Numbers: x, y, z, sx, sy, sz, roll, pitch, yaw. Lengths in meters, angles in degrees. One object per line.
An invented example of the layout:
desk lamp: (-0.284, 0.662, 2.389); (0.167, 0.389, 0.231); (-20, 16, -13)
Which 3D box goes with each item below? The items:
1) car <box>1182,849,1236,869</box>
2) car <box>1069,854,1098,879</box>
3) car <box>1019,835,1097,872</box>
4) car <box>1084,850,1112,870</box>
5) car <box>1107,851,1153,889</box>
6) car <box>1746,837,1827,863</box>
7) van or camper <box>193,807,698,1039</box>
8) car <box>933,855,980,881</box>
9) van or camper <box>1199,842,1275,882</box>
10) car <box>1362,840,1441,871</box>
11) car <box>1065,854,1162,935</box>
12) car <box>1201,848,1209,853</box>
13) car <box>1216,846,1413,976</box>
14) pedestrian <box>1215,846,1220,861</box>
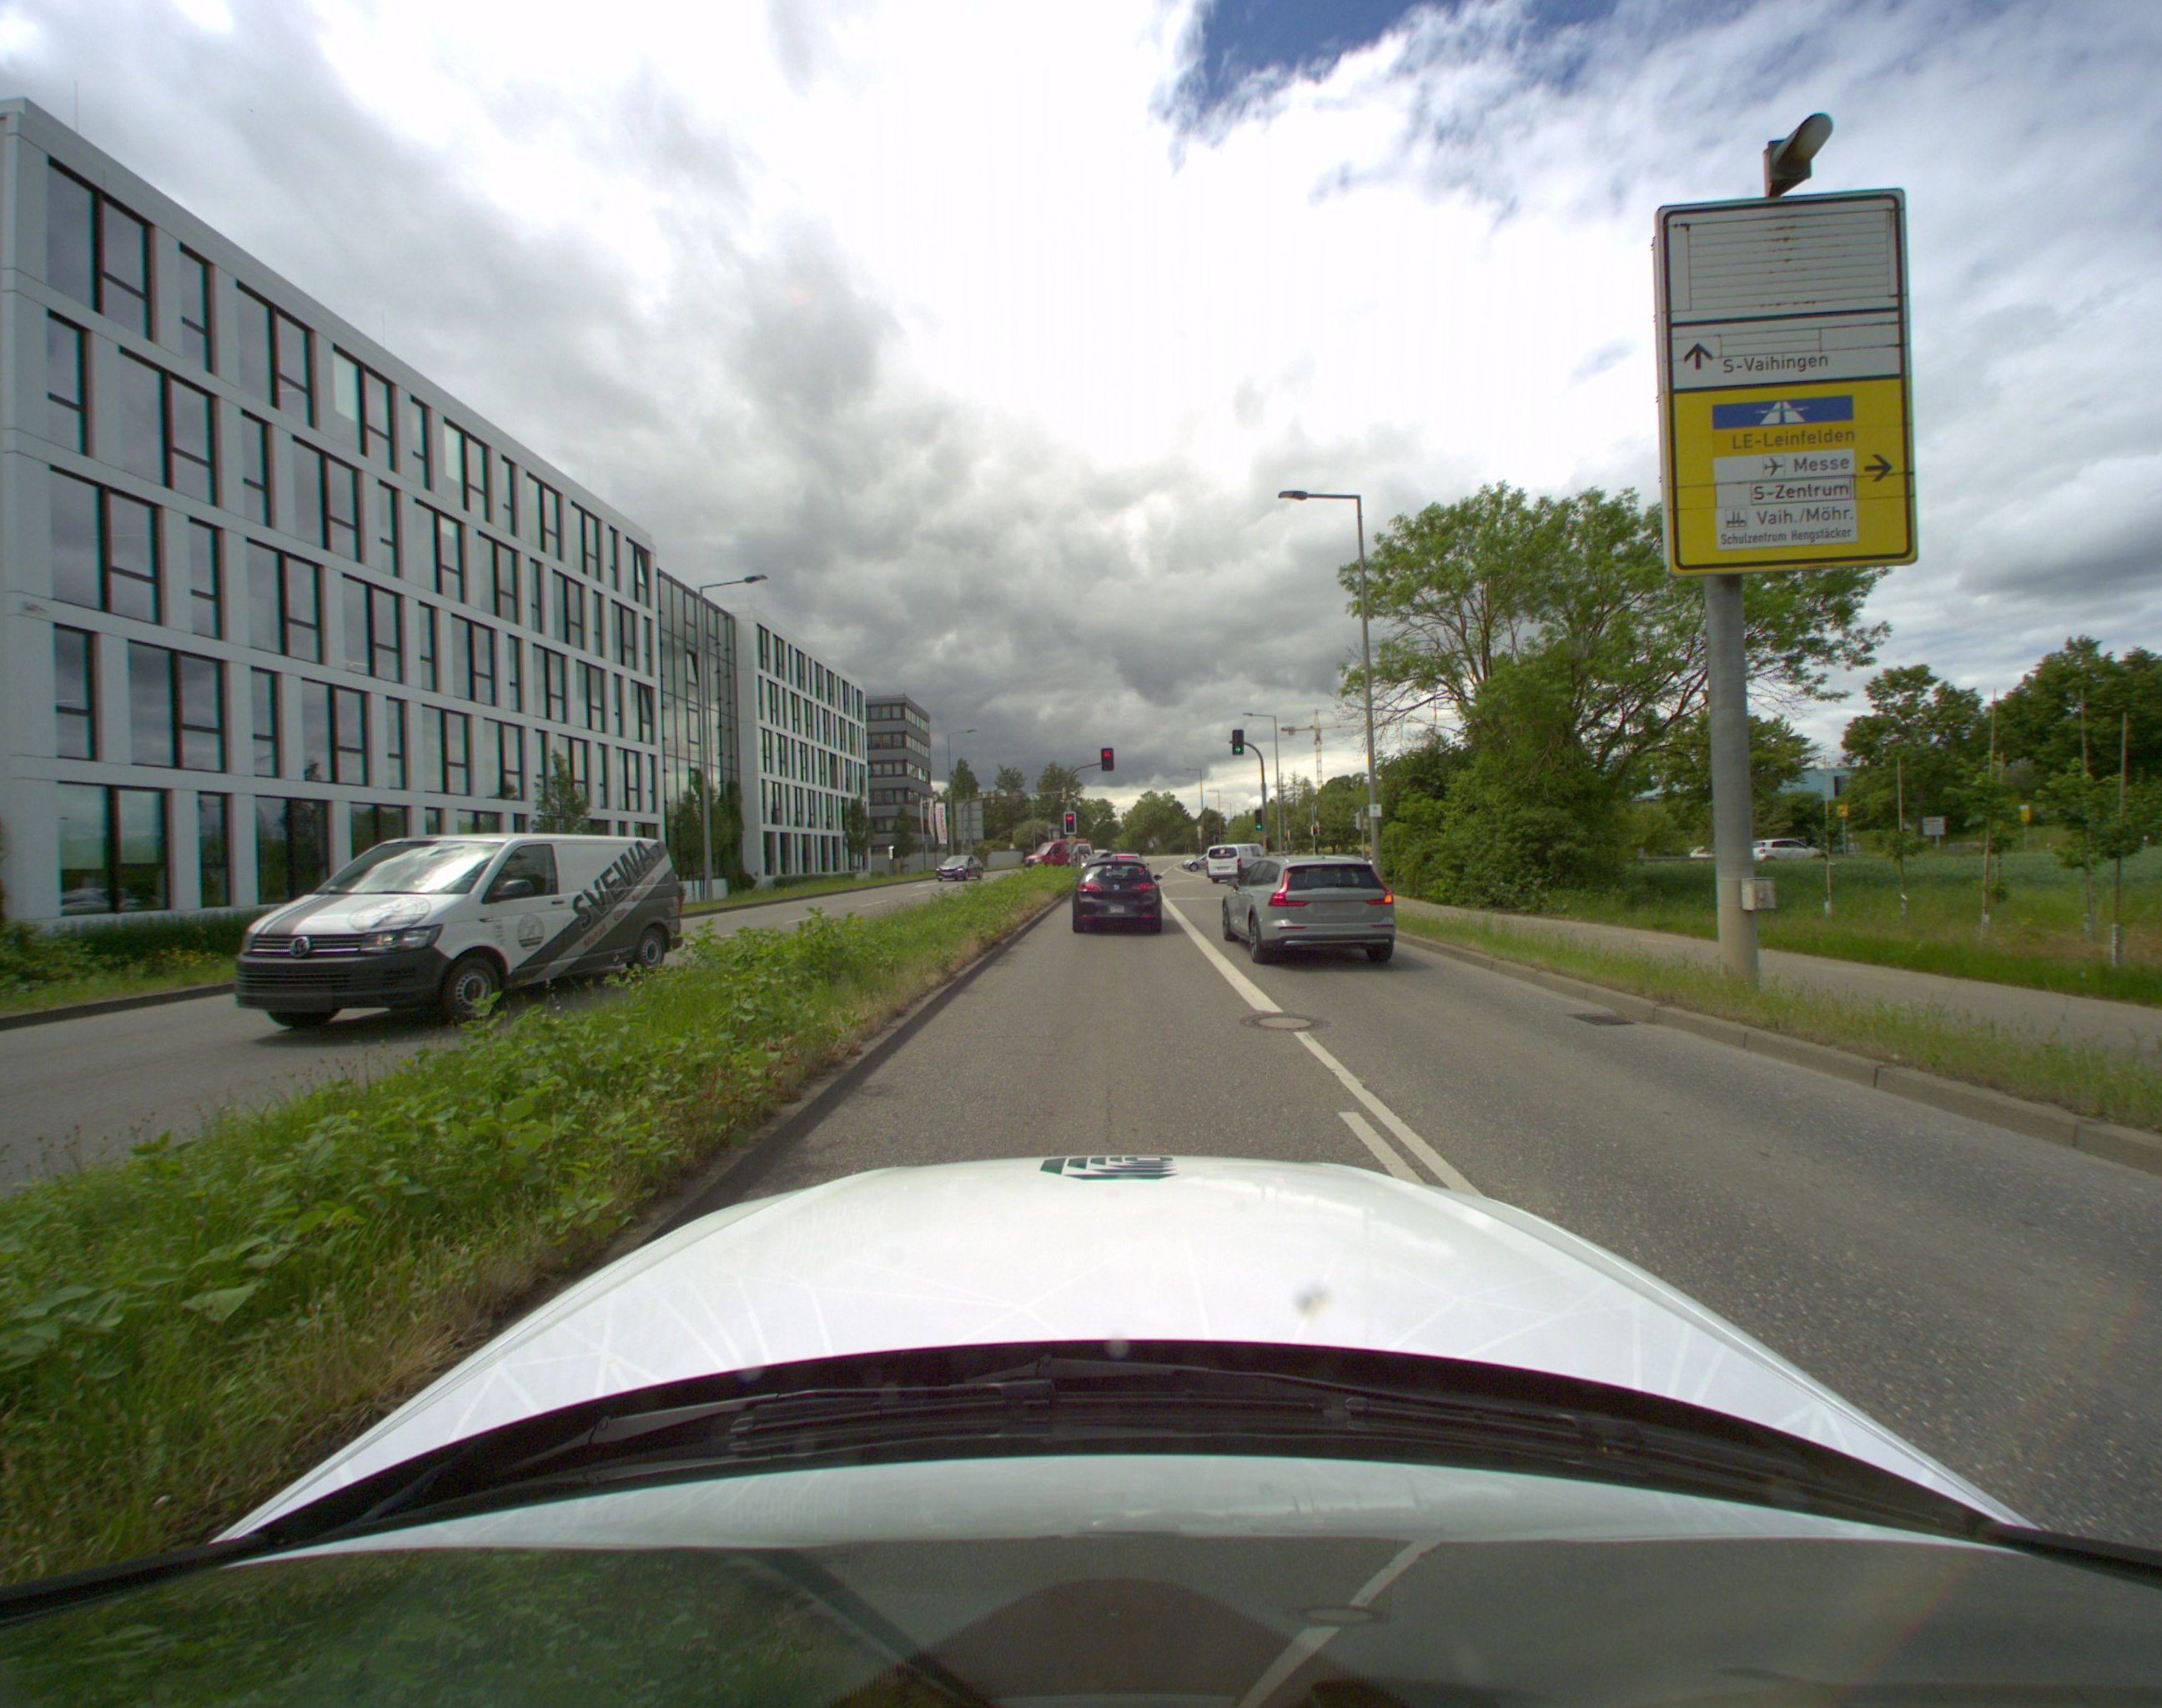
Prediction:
car: (9.684, 0.380, 62.035); (3.967, 1.354, 2.003); (-1, 0, 5)
car: (0.213, 0.761, 52.203); (1.672, 1.482, 4.003); (-1, 0, 2)
car: (-1.649, -0.043, 58.218); (5.259, 2.412, 1.980); (-2, 0, -32)
car: (1.485, 0.492, 69.132); (1.983, 1.596, 4.007); (-1, 0, 6)
car: (2.066, 0.651, 35.388); (1.767, 1.491, 3.582); (-2, 0, 1)
car: (38.822, -0.211, 44.820); (3.382, 1.345, 1.682); (-2, 0, -12)
van or camper: (-6.831, 0.621, 9.691); (1.985, 2.013, 4.820); (-2, 0, 3)
car: (-7.133, 0.775, 47.090); (1.925, 1.398, 4.002); (-1, 0, 2)
van or camper: (7.872, 0.360, 40.624); (1.974, 1.860, 4.975); (-2, 0, 33)
car: (18.329, 0.080, 46.760); (3.959, 1.596, 2.007); (-2, 0, 13)
car: (0.685, 0.752, 16.761); (1.766, 1.451, 3.585); (-1, 0, 3)
car: (30.967, -0.893, 203.443); (1.981, 1.352, 4.012); (-1, 0, 11)
car: (3.236, 0.692, 12.237); (1.855, 1.518, 4.450); (-2, 0, 3)
pedestrian: (15.453, -0.022, 92.204); (0.556, 1.726, 0.589); (-1, 0, 4)
